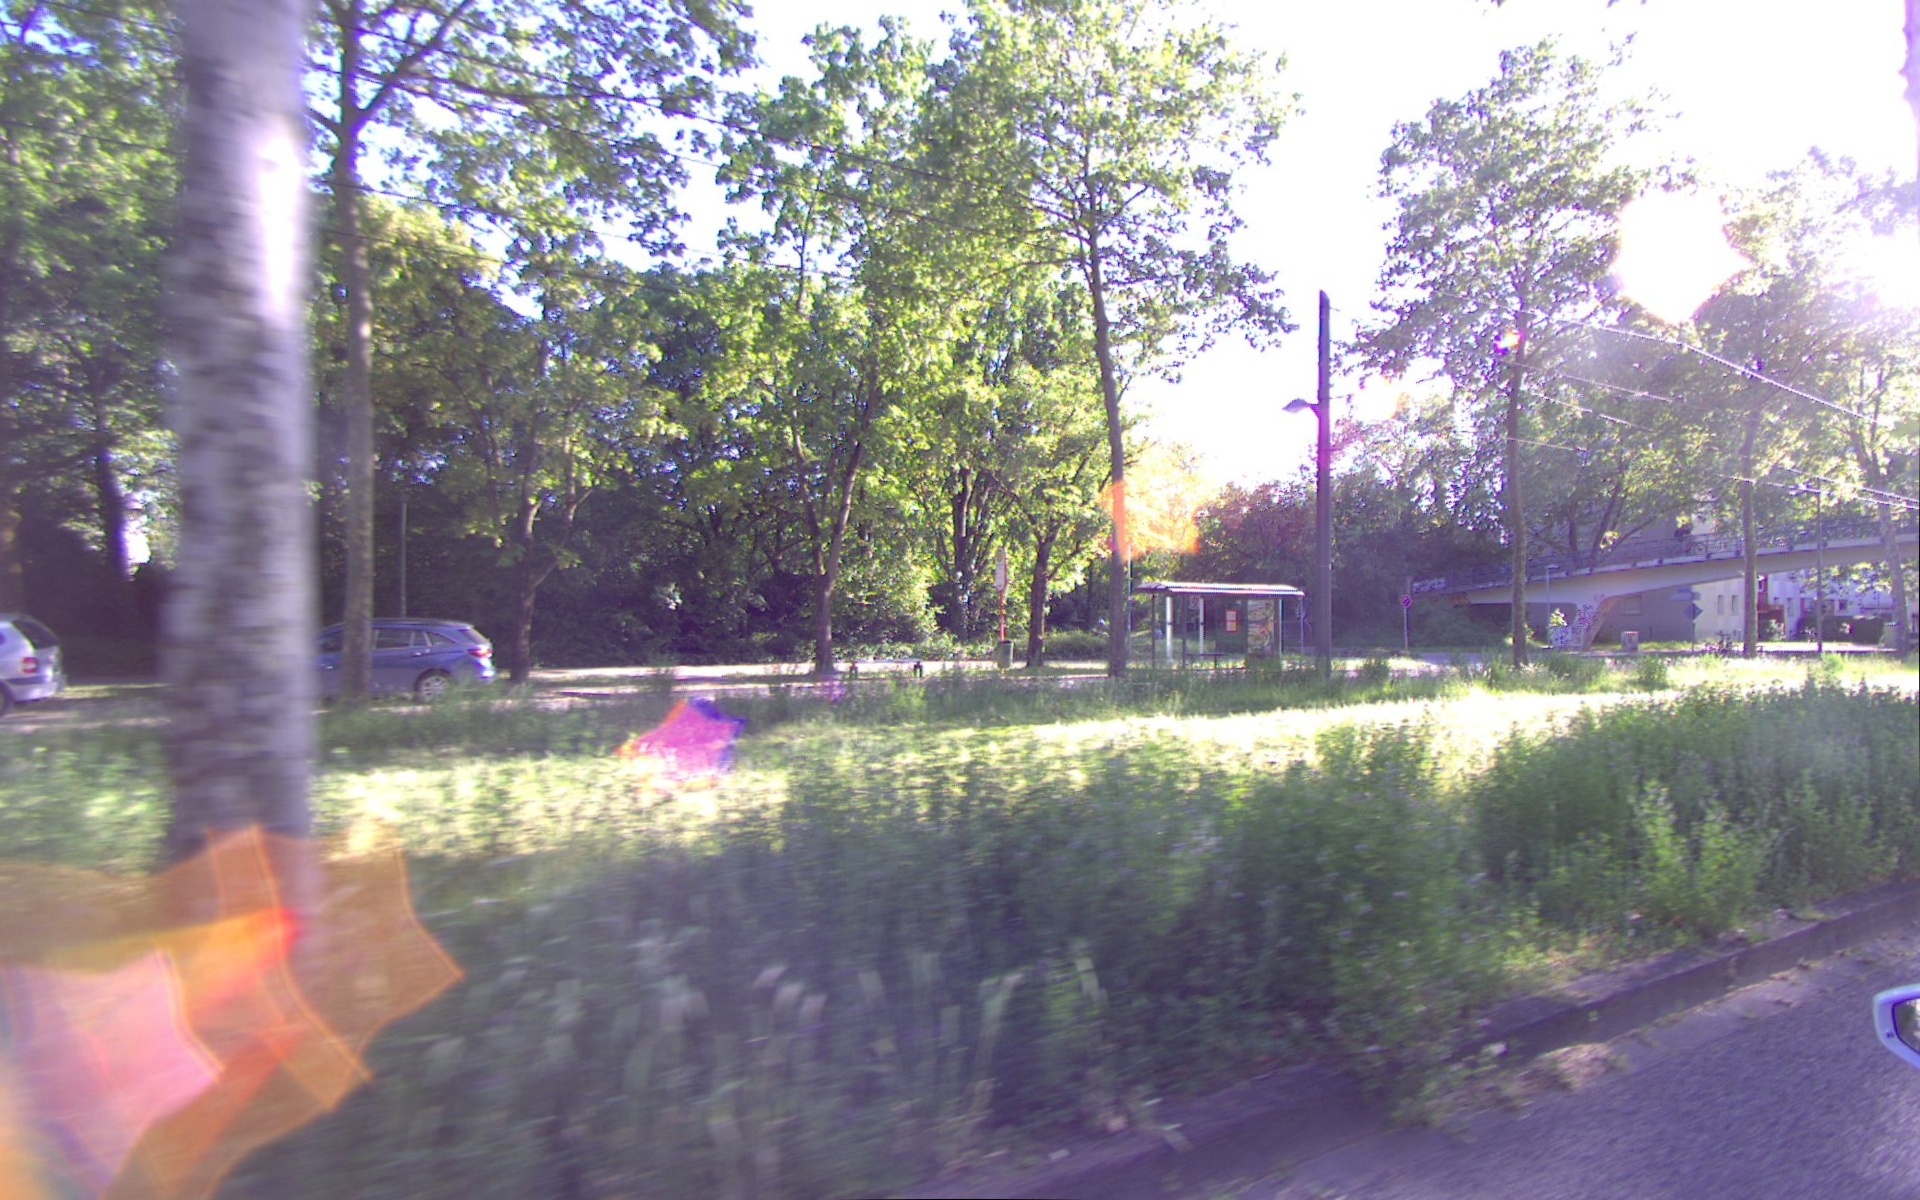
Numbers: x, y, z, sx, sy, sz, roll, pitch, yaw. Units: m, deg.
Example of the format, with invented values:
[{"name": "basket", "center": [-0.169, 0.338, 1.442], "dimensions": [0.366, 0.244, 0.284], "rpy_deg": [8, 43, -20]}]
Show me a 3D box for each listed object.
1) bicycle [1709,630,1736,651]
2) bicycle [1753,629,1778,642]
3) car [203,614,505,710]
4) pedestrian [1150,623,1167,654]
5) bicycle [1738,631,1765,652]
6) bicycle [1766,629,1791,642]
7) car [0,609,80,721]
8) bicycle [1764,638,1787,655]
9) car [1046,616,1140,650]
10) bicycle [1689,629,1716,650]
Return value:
[{"name": "bicycle", "center": [38.357, 2.017, 50.501], "dimensions": [1.666, 1.022, 0.432], "rpy_deg": [1, 0, -29]}, {"name": "bicycle", "center": [61.231, 2.670, 76.325], "dimensions": [2.566, 0.940, 0.691], "rpy_deg": [0, 1, -32]}, {"name": "car", "center": [-11.060, 1.099, 18.686], "dimensions": [4.572, 1.508, 1.888], "rpy_deg": [2, 2, -30]}, {"name": "pedestrian", "center": [9.648, 1.871, 48.809], "dimensions": [0.581, 1.511, 0.530], "rpy_deg": [1, 0, -35]}, {"name": "bicycle", "center": [38.608, 2.013, 49.003], "dimensions": [1.666, 1.022, 0.432], "rpy_deg": [1, 0, -29]}, {"name": "bicycle", "center": [61.615, 2.675, 75.582], "dimensions": [2.566, 0.940, 0.691], "rpy_deg": [0, 1, -32]}, {"name": "car", "center": [-16.532, 0.979, 15.476], "dimensions": [4.140, 1.618, 1.807], "rpy_deg": [2, 2, -30]}, {"name": "bicycle", "center": [38.661, 2.200, 47.594], "dimensions": [1.160, 0.789, 0.432], "rpy_deg": [1, 0, -29]}, {"name": "car", "center": [7.961, 1.970, 60.814], "dimensions": [2.202, 1.974, 6.096], "rpy_deg": [2, -2, -34]}, {"name": "bicycle", "center": [37.189, 1.987, 50.317], "dimensions": [1.666, 1.022, 0.432], "rpy_deg": [1, 0, -29]}]
